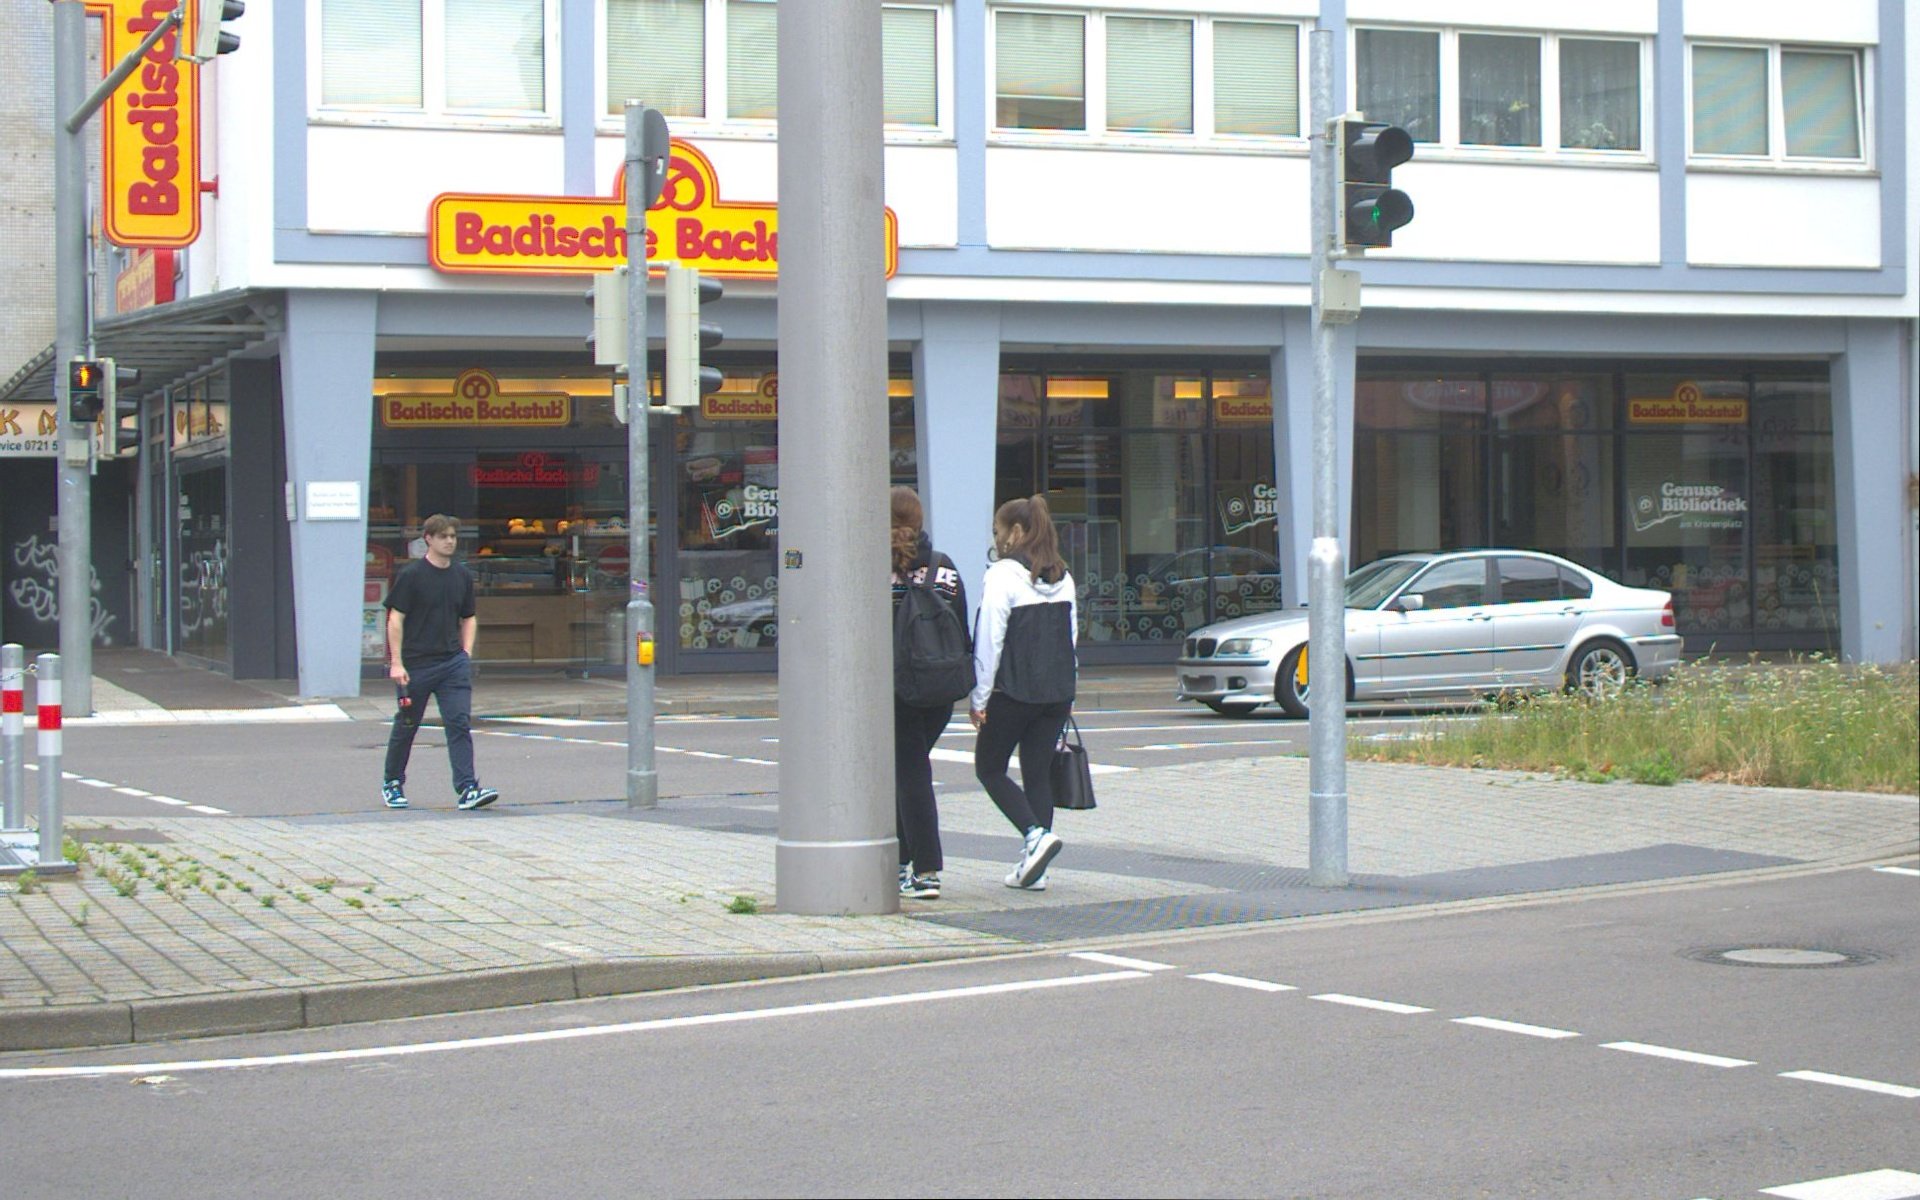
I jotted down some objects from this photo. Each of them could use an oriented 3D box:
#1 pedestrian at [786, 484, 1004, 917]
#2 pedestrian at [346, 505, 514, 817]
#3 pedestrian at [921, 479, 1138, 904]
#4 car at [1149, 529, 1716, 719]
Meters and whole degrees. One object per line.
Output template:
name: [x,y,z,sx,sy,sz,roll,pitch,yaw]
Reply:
pedestrian: [-0.279,0.403,14.407,0.621,1.755,0.780,0,0,-26]
pedestrian: [-3.204,0.351,20.731,0.712,1.826,1.017,0,0,-26]
pedestrian: [0.290,0.375,14.680,0.621,1.755,0.780,0,0,-26]
car: [4.079,0.171,29.690,4.551,1.476,1.749,-1,1,-21]
